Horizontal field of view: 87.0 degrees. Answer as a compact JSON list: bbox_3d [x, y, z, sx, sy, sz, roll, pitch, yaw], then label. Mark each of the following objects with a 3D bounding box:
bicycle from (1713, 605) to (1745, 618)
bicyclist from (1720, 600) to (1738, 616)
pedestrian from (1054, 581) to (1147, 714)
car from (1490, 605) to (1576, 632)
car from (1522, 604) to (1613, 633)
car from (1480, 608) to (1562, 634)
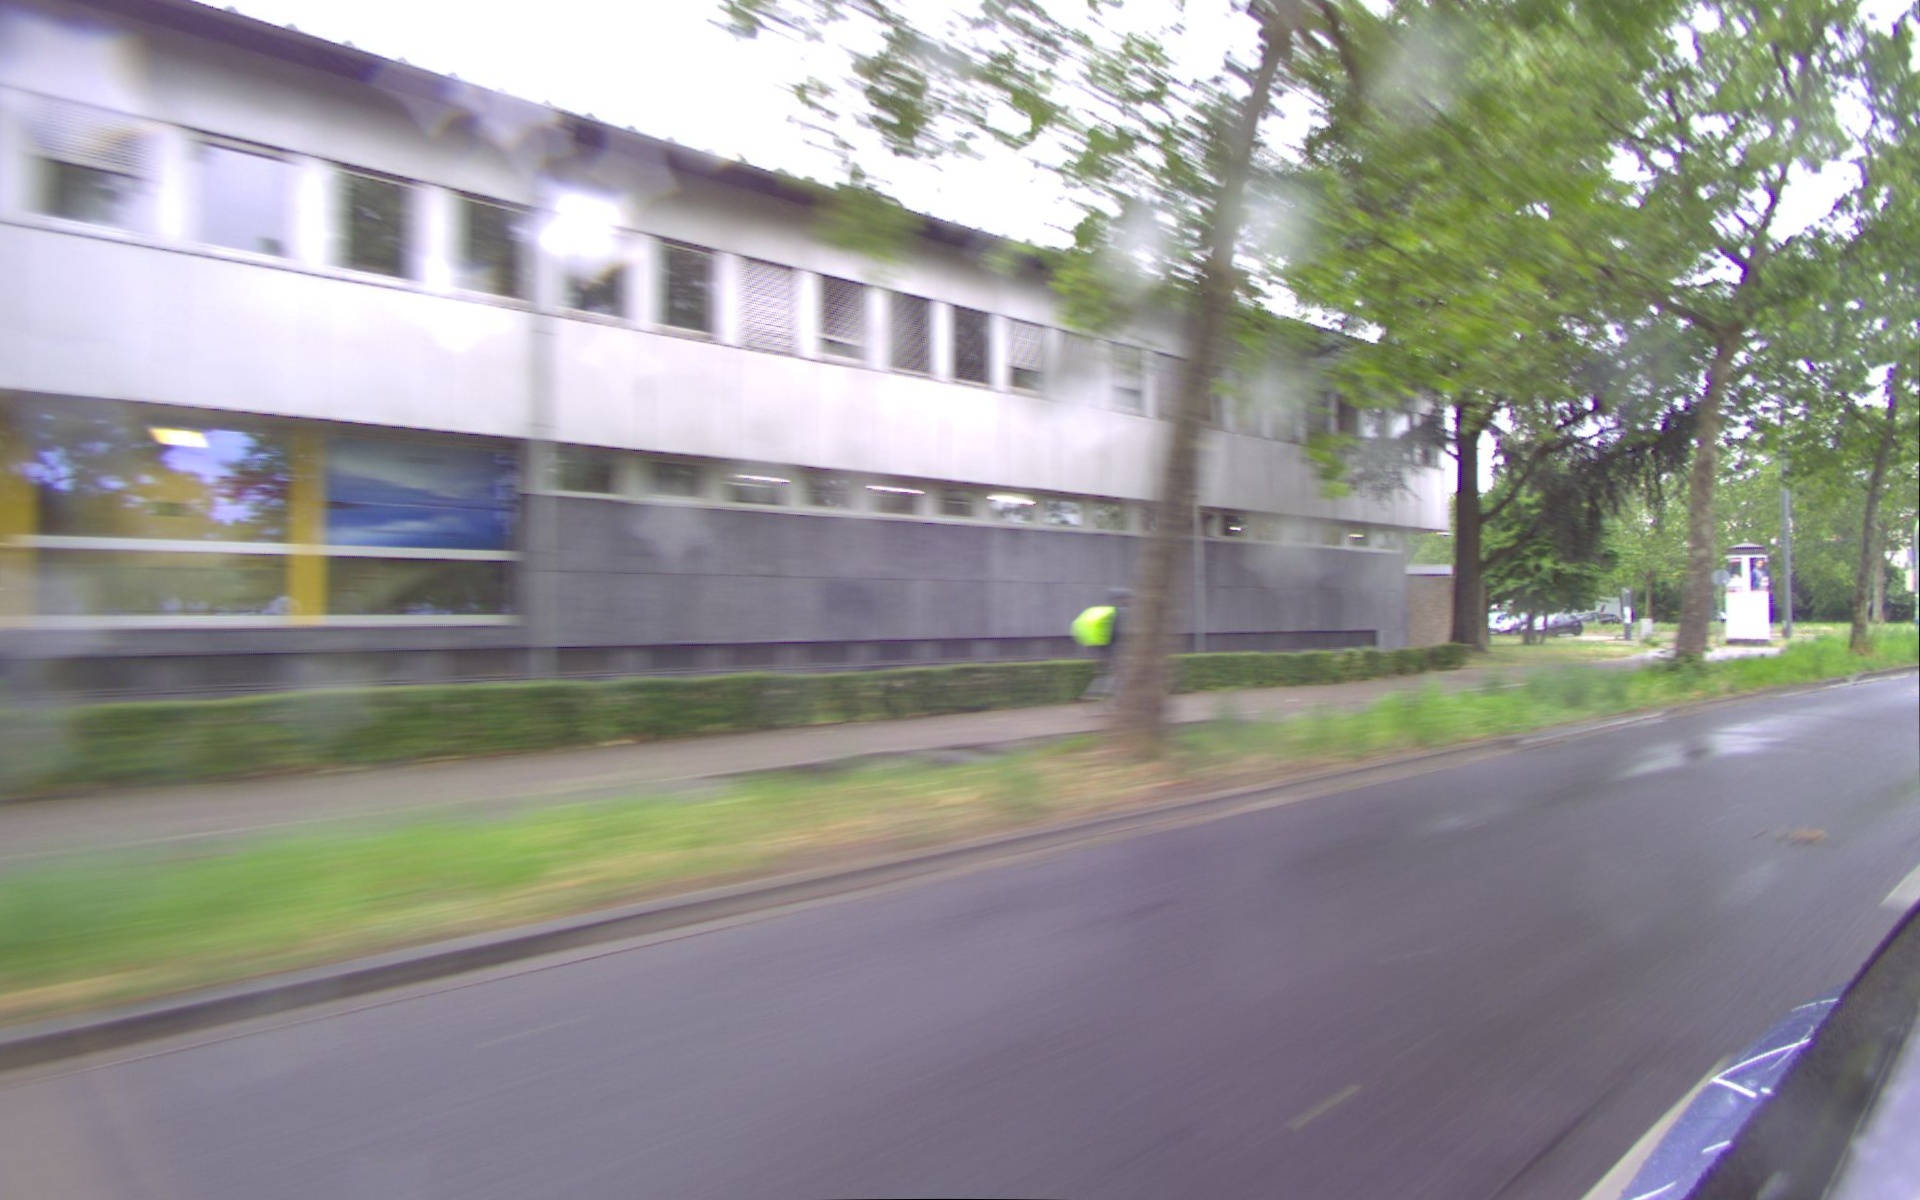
[{"bbox_3d":[56.323,0.864,74.135,0.669,0.896,1.868,-1,-1,-10],"label":"bicycle"},{"bbox_3d":[56.315,0.575,74.101,0.669,1.159,0.745,-1,-1,-10],"label":"bicyclist"},{"bbox_3d":[1.896,0.622,13.692,0.882,1.717,0.833,0,-1,-34],"label":"pedestrian"},{"bbox_3d":[36.788,1.191,65.097,4.465,1.650,1.986,-1,-1,21],"label":"car"},{"bbox_3d":[37.449,1.150,62.523,4.466,1.650,1.986,-1,-1,21],"label":"car"},{"bbox_3d":[37.528,1.407,67.856,4.466,1.650,1.986,-1,-1,21],"label":"car"}]
